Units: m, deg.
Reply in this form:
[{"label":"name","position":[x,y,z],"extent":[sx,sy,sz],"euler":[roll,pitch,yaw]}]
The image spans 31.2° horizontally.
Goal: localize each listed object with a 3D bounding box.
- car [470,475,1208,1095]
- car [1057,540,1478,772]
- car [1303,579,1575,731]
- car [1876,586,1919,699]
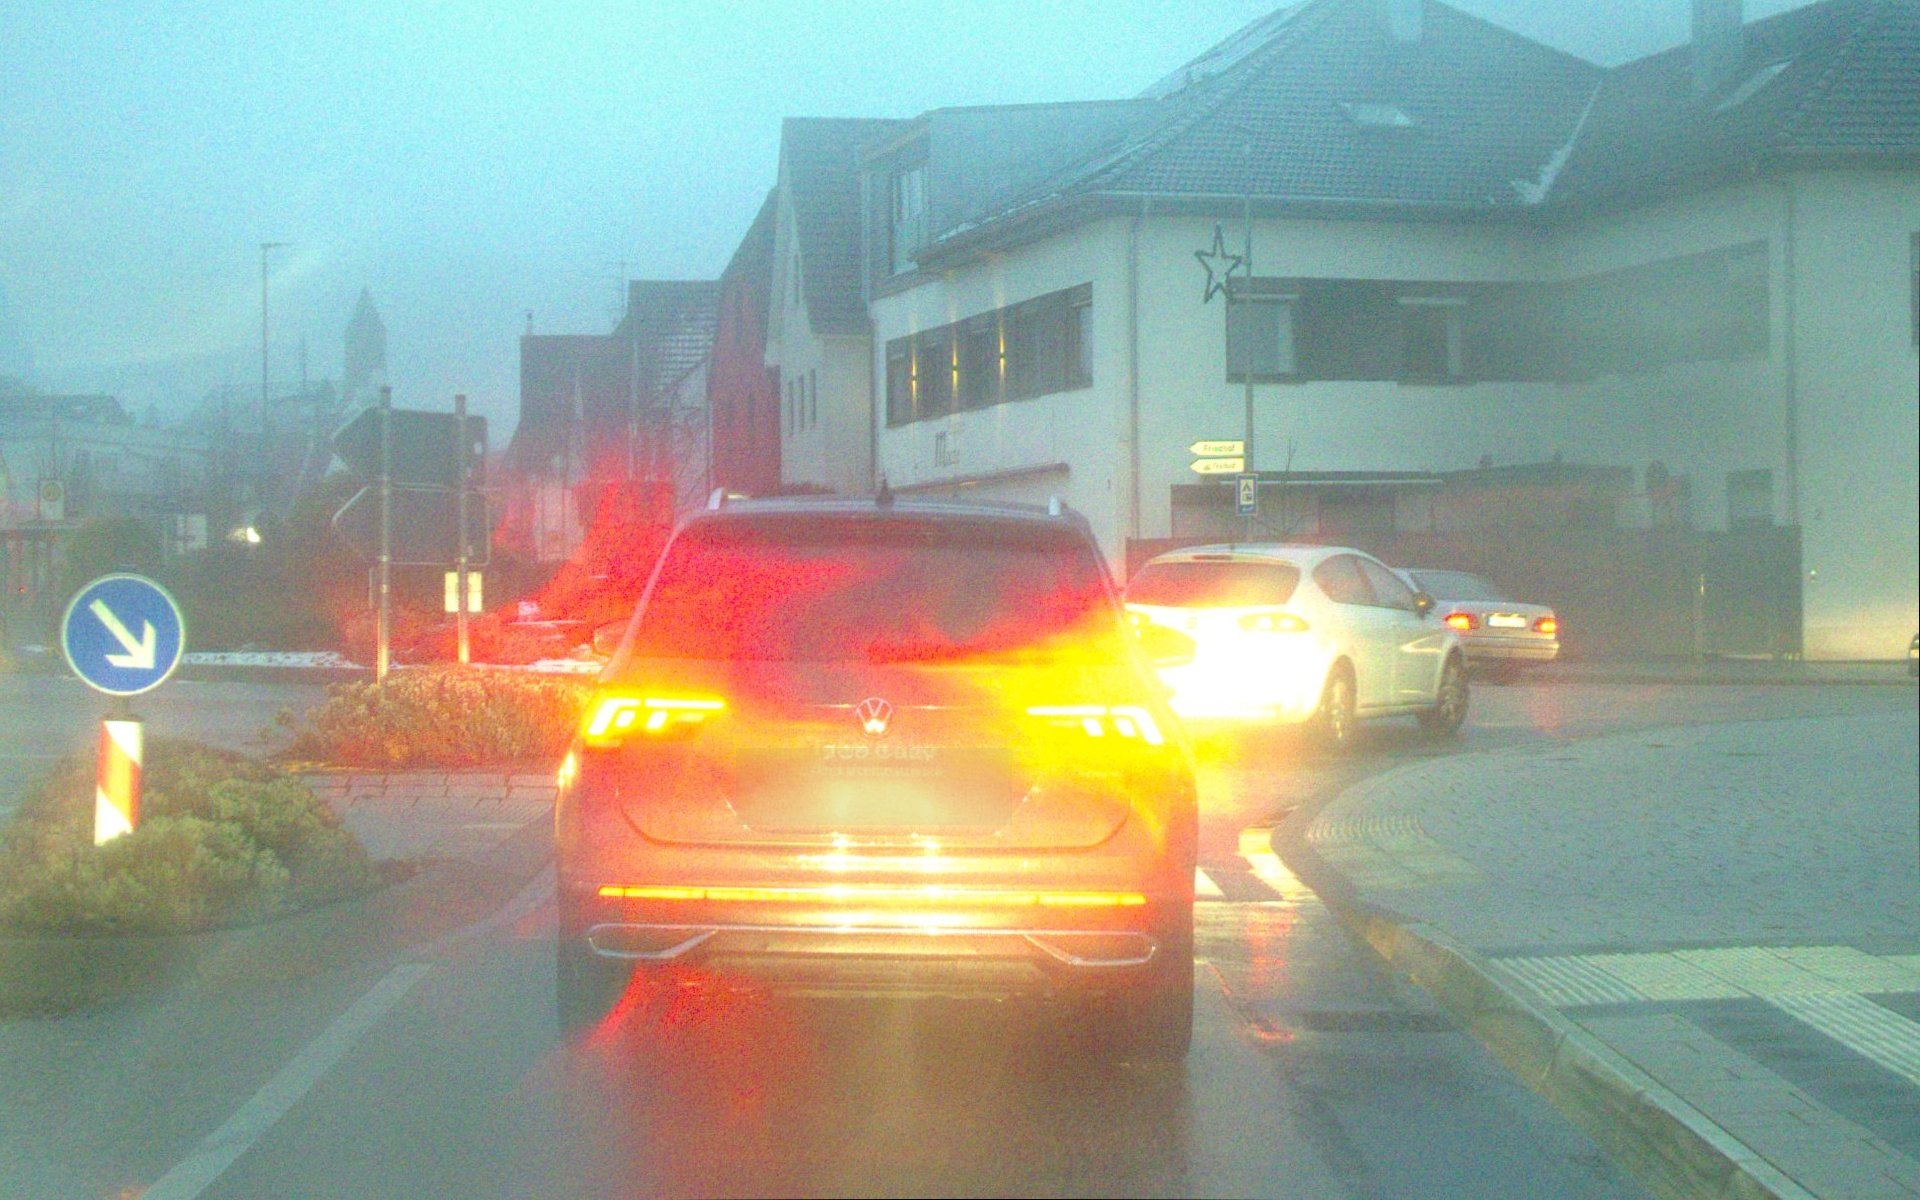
[{"label":"car","position":[-0.446,0.449,10.945],"extent":[1.915,1.609,3.951],"euler":[0,1,-4]},{"label":"car","position":[2.326,0.336,25.078],"extent":[1.780,1.533,3.927],"euler":[0,1,26]},{"label":"car","position":[5.824,0.631,42.289],"extent":[1.821,1.622,4.001],"euler":[-3,2,-15]},{"label":"car","position":[13.873,0.560,43.132],"extent":[4.220,1.379,1.851],"euler":[1,-2,-5]}]
